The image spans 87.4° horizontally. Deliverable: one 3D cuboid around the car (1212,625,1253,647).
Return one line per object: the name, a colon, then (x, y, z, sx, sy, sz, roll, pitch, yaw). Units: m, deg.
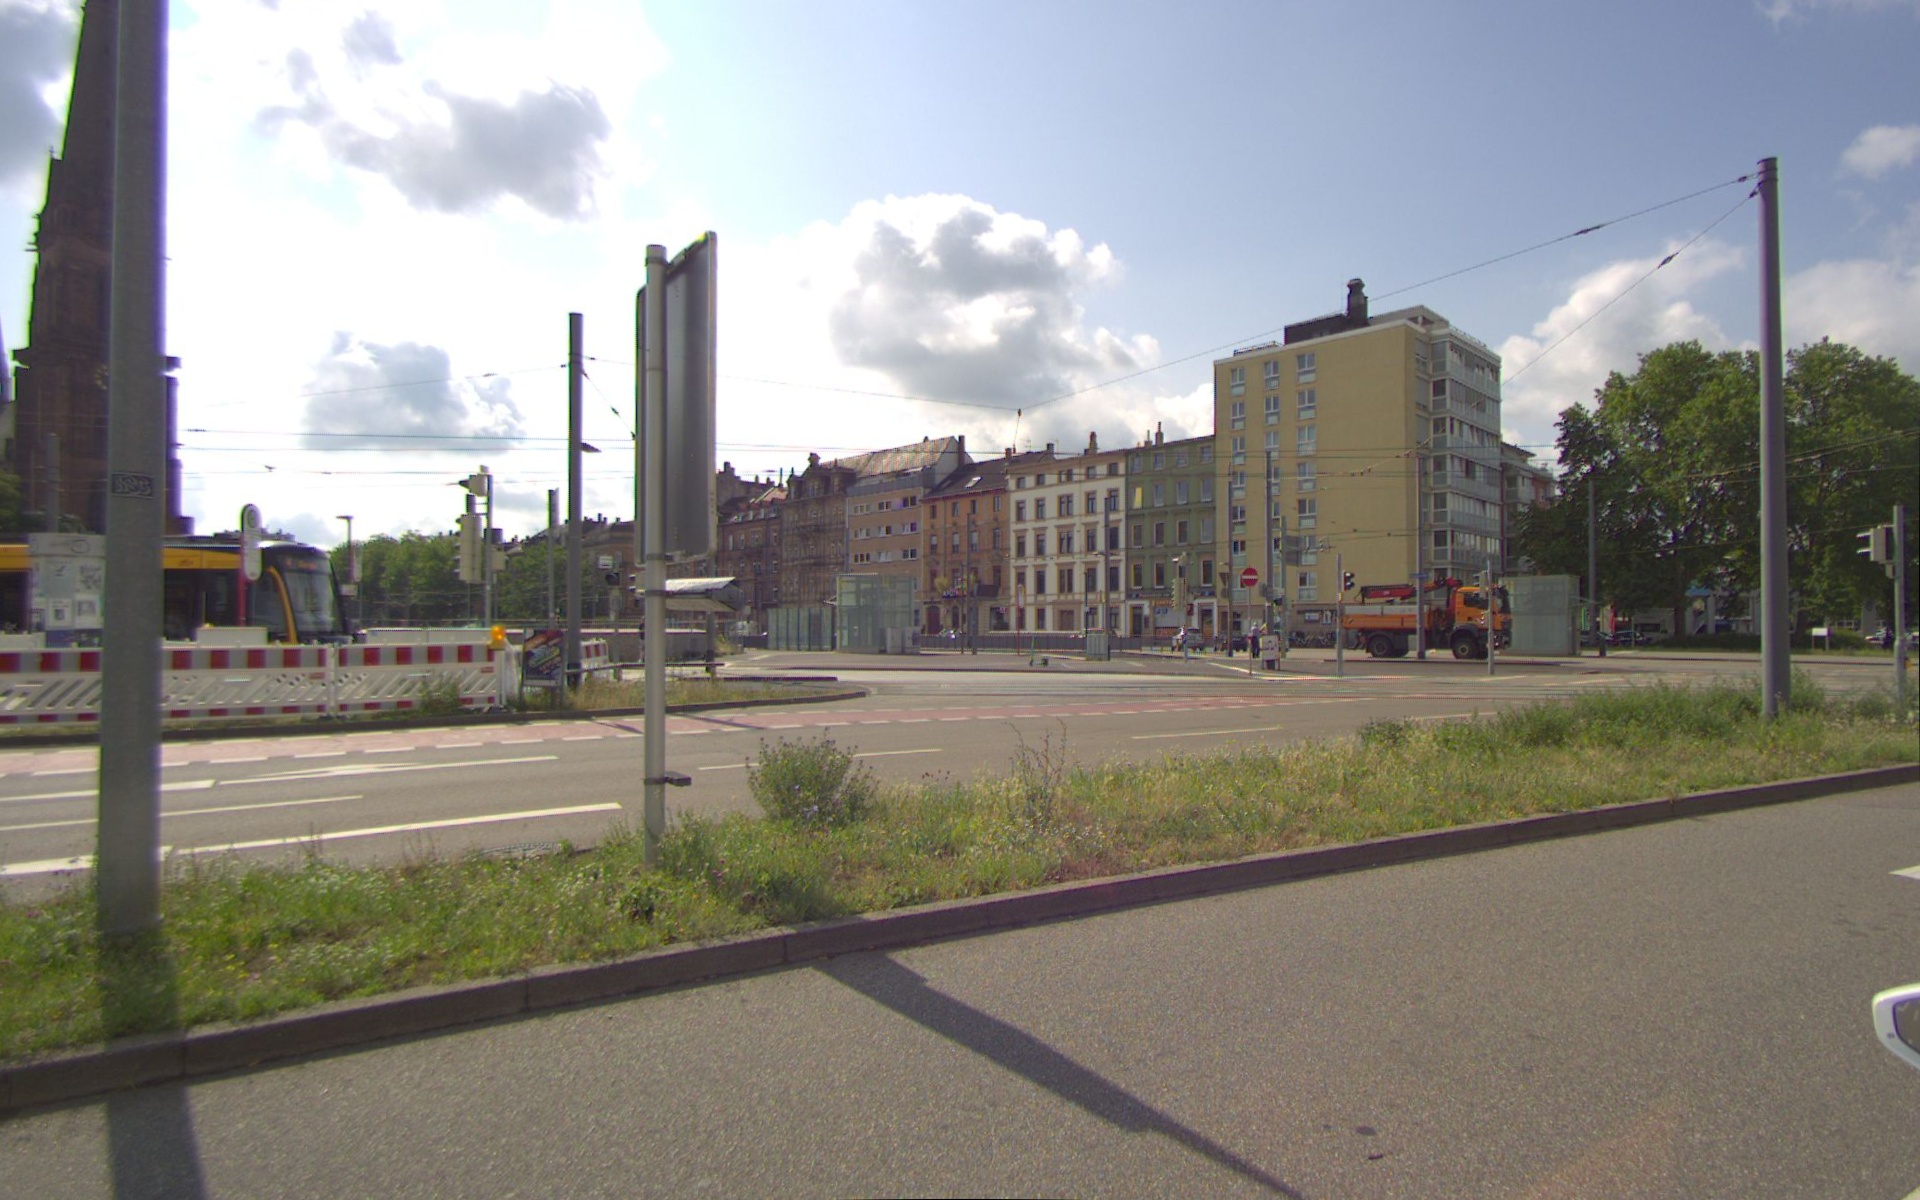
car: (18.715, 2.454, 69.103, 1.834, 1.455, 4.007, 0, -2, 1)

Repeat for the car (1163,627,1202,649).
car: (15.943, 2.705, 72.022, 1.665, 1.520, 3.674, 0, -2, -6)

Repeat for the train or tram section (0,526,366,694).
train or tram section: (-20.542, 0.246, 22.997, 12.169, 3.619, 2.668, 0, -1, -1)

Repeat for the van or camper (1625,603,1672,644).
van or camper: (52.216, 1.785, 76.095, 2.549, 2.946, 6.074, -1, -2, 38)

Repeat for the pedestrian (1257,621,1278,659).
pedestrian: (15.517, 2.015, 50.633, 0.772, 1.893, 0.647, 1, -1, -29)

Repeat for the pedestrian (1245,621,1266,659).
pedestrian: (15.094, 2.036, 51.294, 0.809, 1.884, 0.695, 1, -1, -29)

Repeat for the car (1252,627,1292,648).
car: (21.175, 2.510, 68.220, 1.664, 1.368, 3.678, 0, -2, 2)

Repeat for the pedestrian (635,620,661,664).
pedestrian: (-12.978, 1.744, 41.799, 0.789, 1.820, 0.965, 0, -1, -4)

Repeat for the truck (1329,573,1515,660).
truck: (22.030, 0.834, 48.236, 7.828, 3.907, 2.188, -1, -2, 43)
